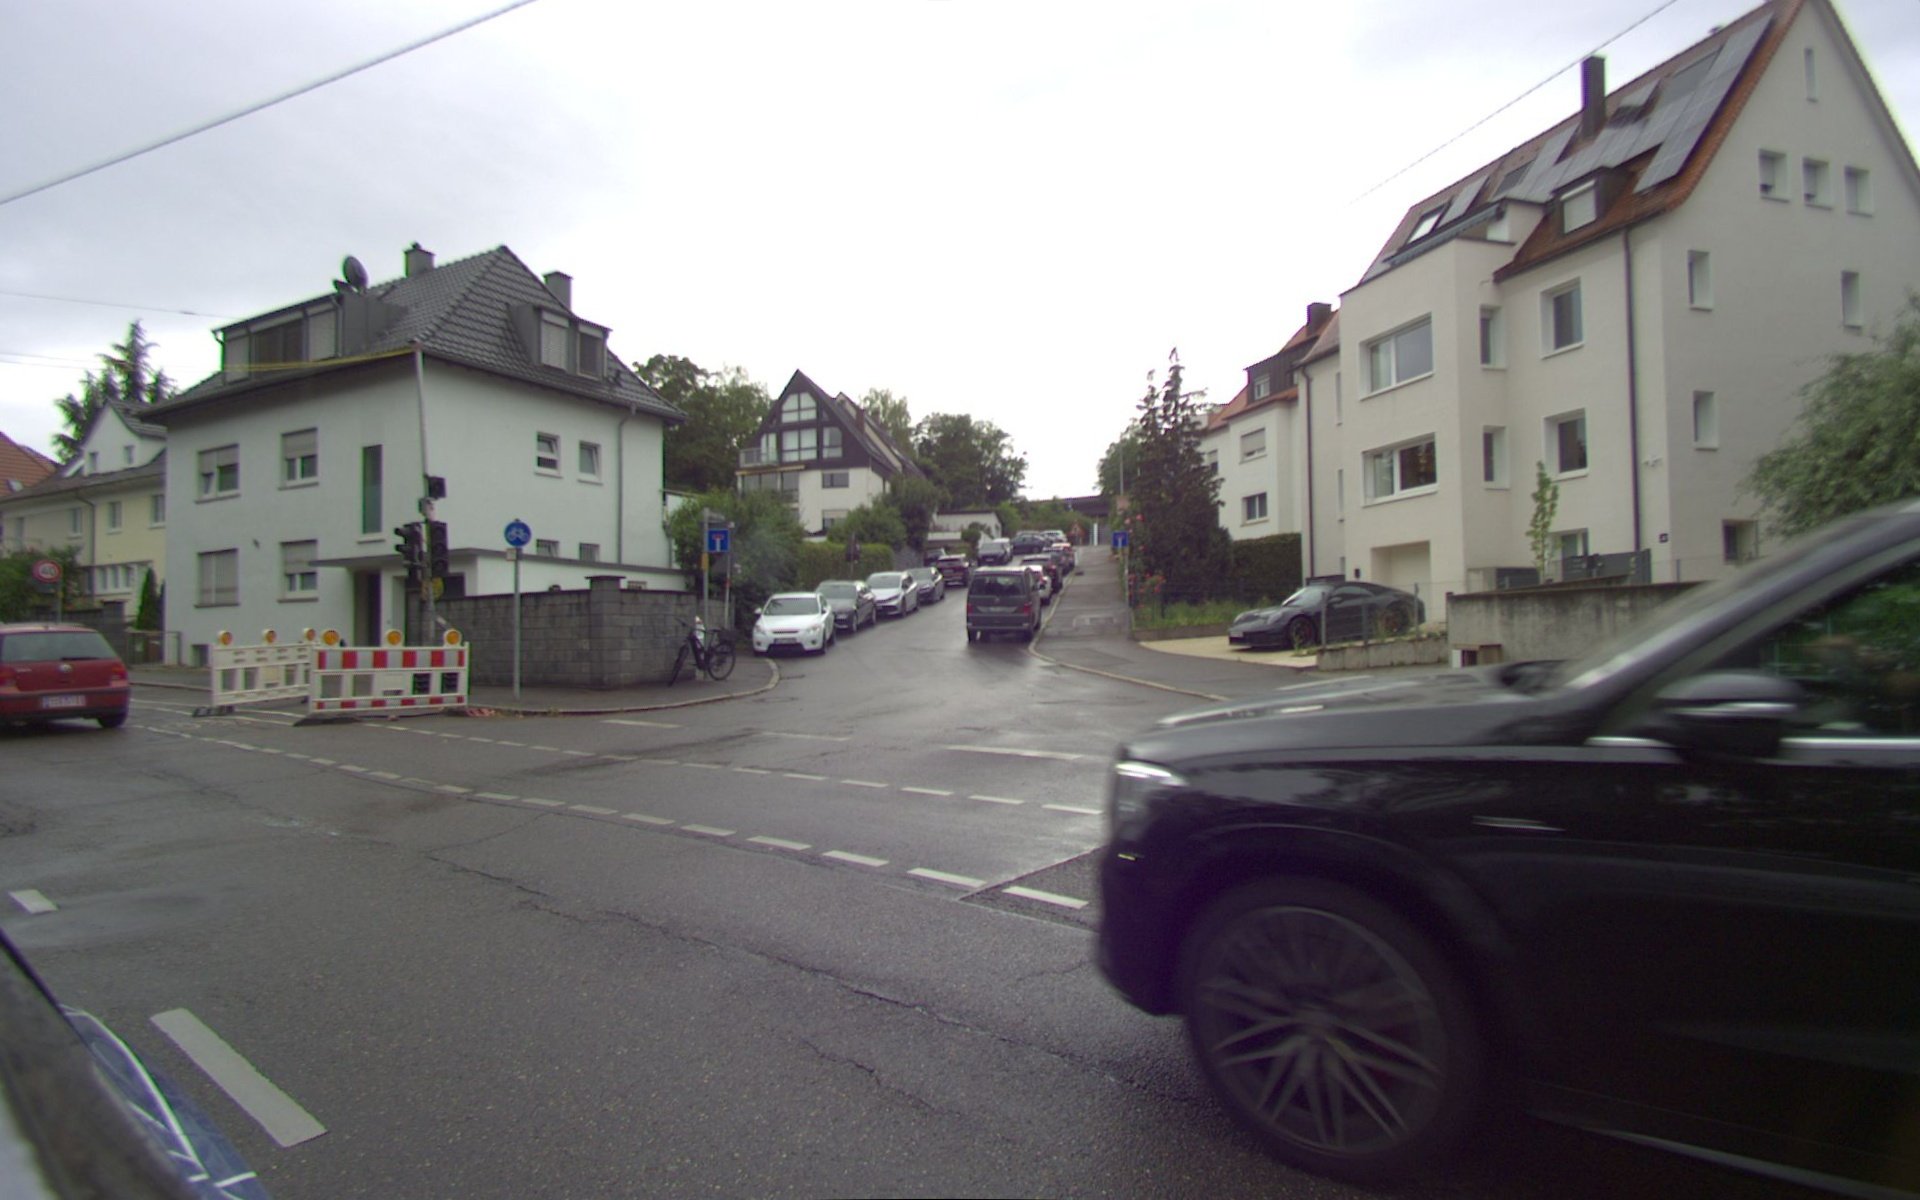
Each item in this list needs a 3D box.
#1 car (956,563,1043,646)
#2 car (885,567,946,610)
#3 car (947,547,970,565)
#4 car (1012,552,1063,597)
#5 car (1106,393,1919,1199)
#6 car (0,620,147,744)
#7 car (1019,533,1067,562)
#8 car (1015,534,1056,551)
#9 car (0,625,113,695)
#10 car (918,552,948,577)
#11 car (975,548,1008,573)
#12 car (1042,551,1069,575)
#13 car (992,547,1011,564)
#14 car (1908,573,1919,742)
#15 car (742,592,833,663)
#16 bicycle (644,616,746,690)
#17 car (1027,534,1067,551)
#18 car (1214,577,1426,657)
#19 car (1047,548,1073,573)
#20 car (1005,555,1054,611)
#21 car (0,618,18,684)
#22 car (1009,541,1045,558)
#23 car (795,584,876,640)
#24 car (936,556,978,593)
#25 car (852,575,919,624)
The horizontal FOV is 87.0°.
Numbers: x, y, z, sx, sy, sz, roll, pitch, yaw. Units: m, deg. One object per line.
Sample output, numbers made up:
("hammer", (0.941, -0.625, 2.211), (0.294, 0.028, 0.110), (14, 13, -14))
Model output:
("car", (1.237, 0.057, 29.313), (1.978, 2.028, 4.482), (-1, 4, 9))
("car", (-1.812, -0.546, 42.948), (1.903, 1.448, 4.100), (-1, 5, 7))
("car", (-0.086, -3.250, 74.010), (1.559, 1.220, 3.650), (-1, 3, 2))
("car", (3.516, -1.185, 45.364), (1.823, 1.699, 4.039), (-1, 5, 11))
("car", (2.805, 0.487, 2.194), (4.547, 1.761, 1.960), (-2, -1, 38))
("car", (-13.036, 1.061, 13.749), (3.868, 1.474, 1.753), (-2, -1, 28))
("car", (7.198, -4.552, 87.631), (3.954, 2.028, 1.995), (-5, -1, 8))
("car", (7.387, -5.579, 98.777), (3.922, 1.528, 1.748), (-1, 0, 6))
("car", (-21.474, 1.340, 23.371), (3.833, 1.443, 1.768), (-1, -1, 30))
("car", (-1.831, -2.410, 69.782), (1.793, 1.566, 4.009), (-1, 0, 3))
("car", (2.191, -2.661, 68.874), (1.770, 1.531, 4.016), (-1, 0, 9))
("car", (5.498, -2.135, 58.100), (1.274, 1.325, 2.984), (-1, 3, 10))
("car", (3.054, -3.317, 74.699), (1.292, 1.206, 2.980), (-1, 3, 5))
("car", (10.599, 0.428, 8.537), (3.934, 1.497, 1.780), (-2, -1, -12))
("car", (-4.359, 0.631, 26.144), (1.827, 1.473, 4.124), (-1, 3, -3))
("bicycle", (-4.791, 0.938, 18.445), (0.508, 1.249, 1.984), (1, 0, 32))
("car", (8.935, -5.889, 103.903), (3.782, 1.529, 1.664), (-1, -1, 15))
("car", (7.702, 0.340, 21.760), (3.942, 1.290, 1.613), (-5, 1, -13))
("car", (6.233, -2.439, 62.836), (1.488, 1.373, 3.465), (-1, 0, 8))
("car", (2.815, -0.747, 40.312), (1.686, 1.843, 4.194), (-1, 6, 7))
("car", (-26.159, 1.323, 25.763), (4.131, 1.653, 1.782), (-1, -1, 25))
("car", (5.549, -4.189, 83.642), (2.914, 1.328, 1.282), (-1, 0, 4))
("car", (-3.832, 0.326, 31.806), (1.702, 1.397, 3.900), (-1, 4, 6))
("car", (-0.119, -1.355, 52.453), (1.623, 1.637, 3.992), (-1, 5, 8))
("car", (-2.663, -0.078, 37.075), (1.738, 1.481, 3.940), (-1, 4, 6))
